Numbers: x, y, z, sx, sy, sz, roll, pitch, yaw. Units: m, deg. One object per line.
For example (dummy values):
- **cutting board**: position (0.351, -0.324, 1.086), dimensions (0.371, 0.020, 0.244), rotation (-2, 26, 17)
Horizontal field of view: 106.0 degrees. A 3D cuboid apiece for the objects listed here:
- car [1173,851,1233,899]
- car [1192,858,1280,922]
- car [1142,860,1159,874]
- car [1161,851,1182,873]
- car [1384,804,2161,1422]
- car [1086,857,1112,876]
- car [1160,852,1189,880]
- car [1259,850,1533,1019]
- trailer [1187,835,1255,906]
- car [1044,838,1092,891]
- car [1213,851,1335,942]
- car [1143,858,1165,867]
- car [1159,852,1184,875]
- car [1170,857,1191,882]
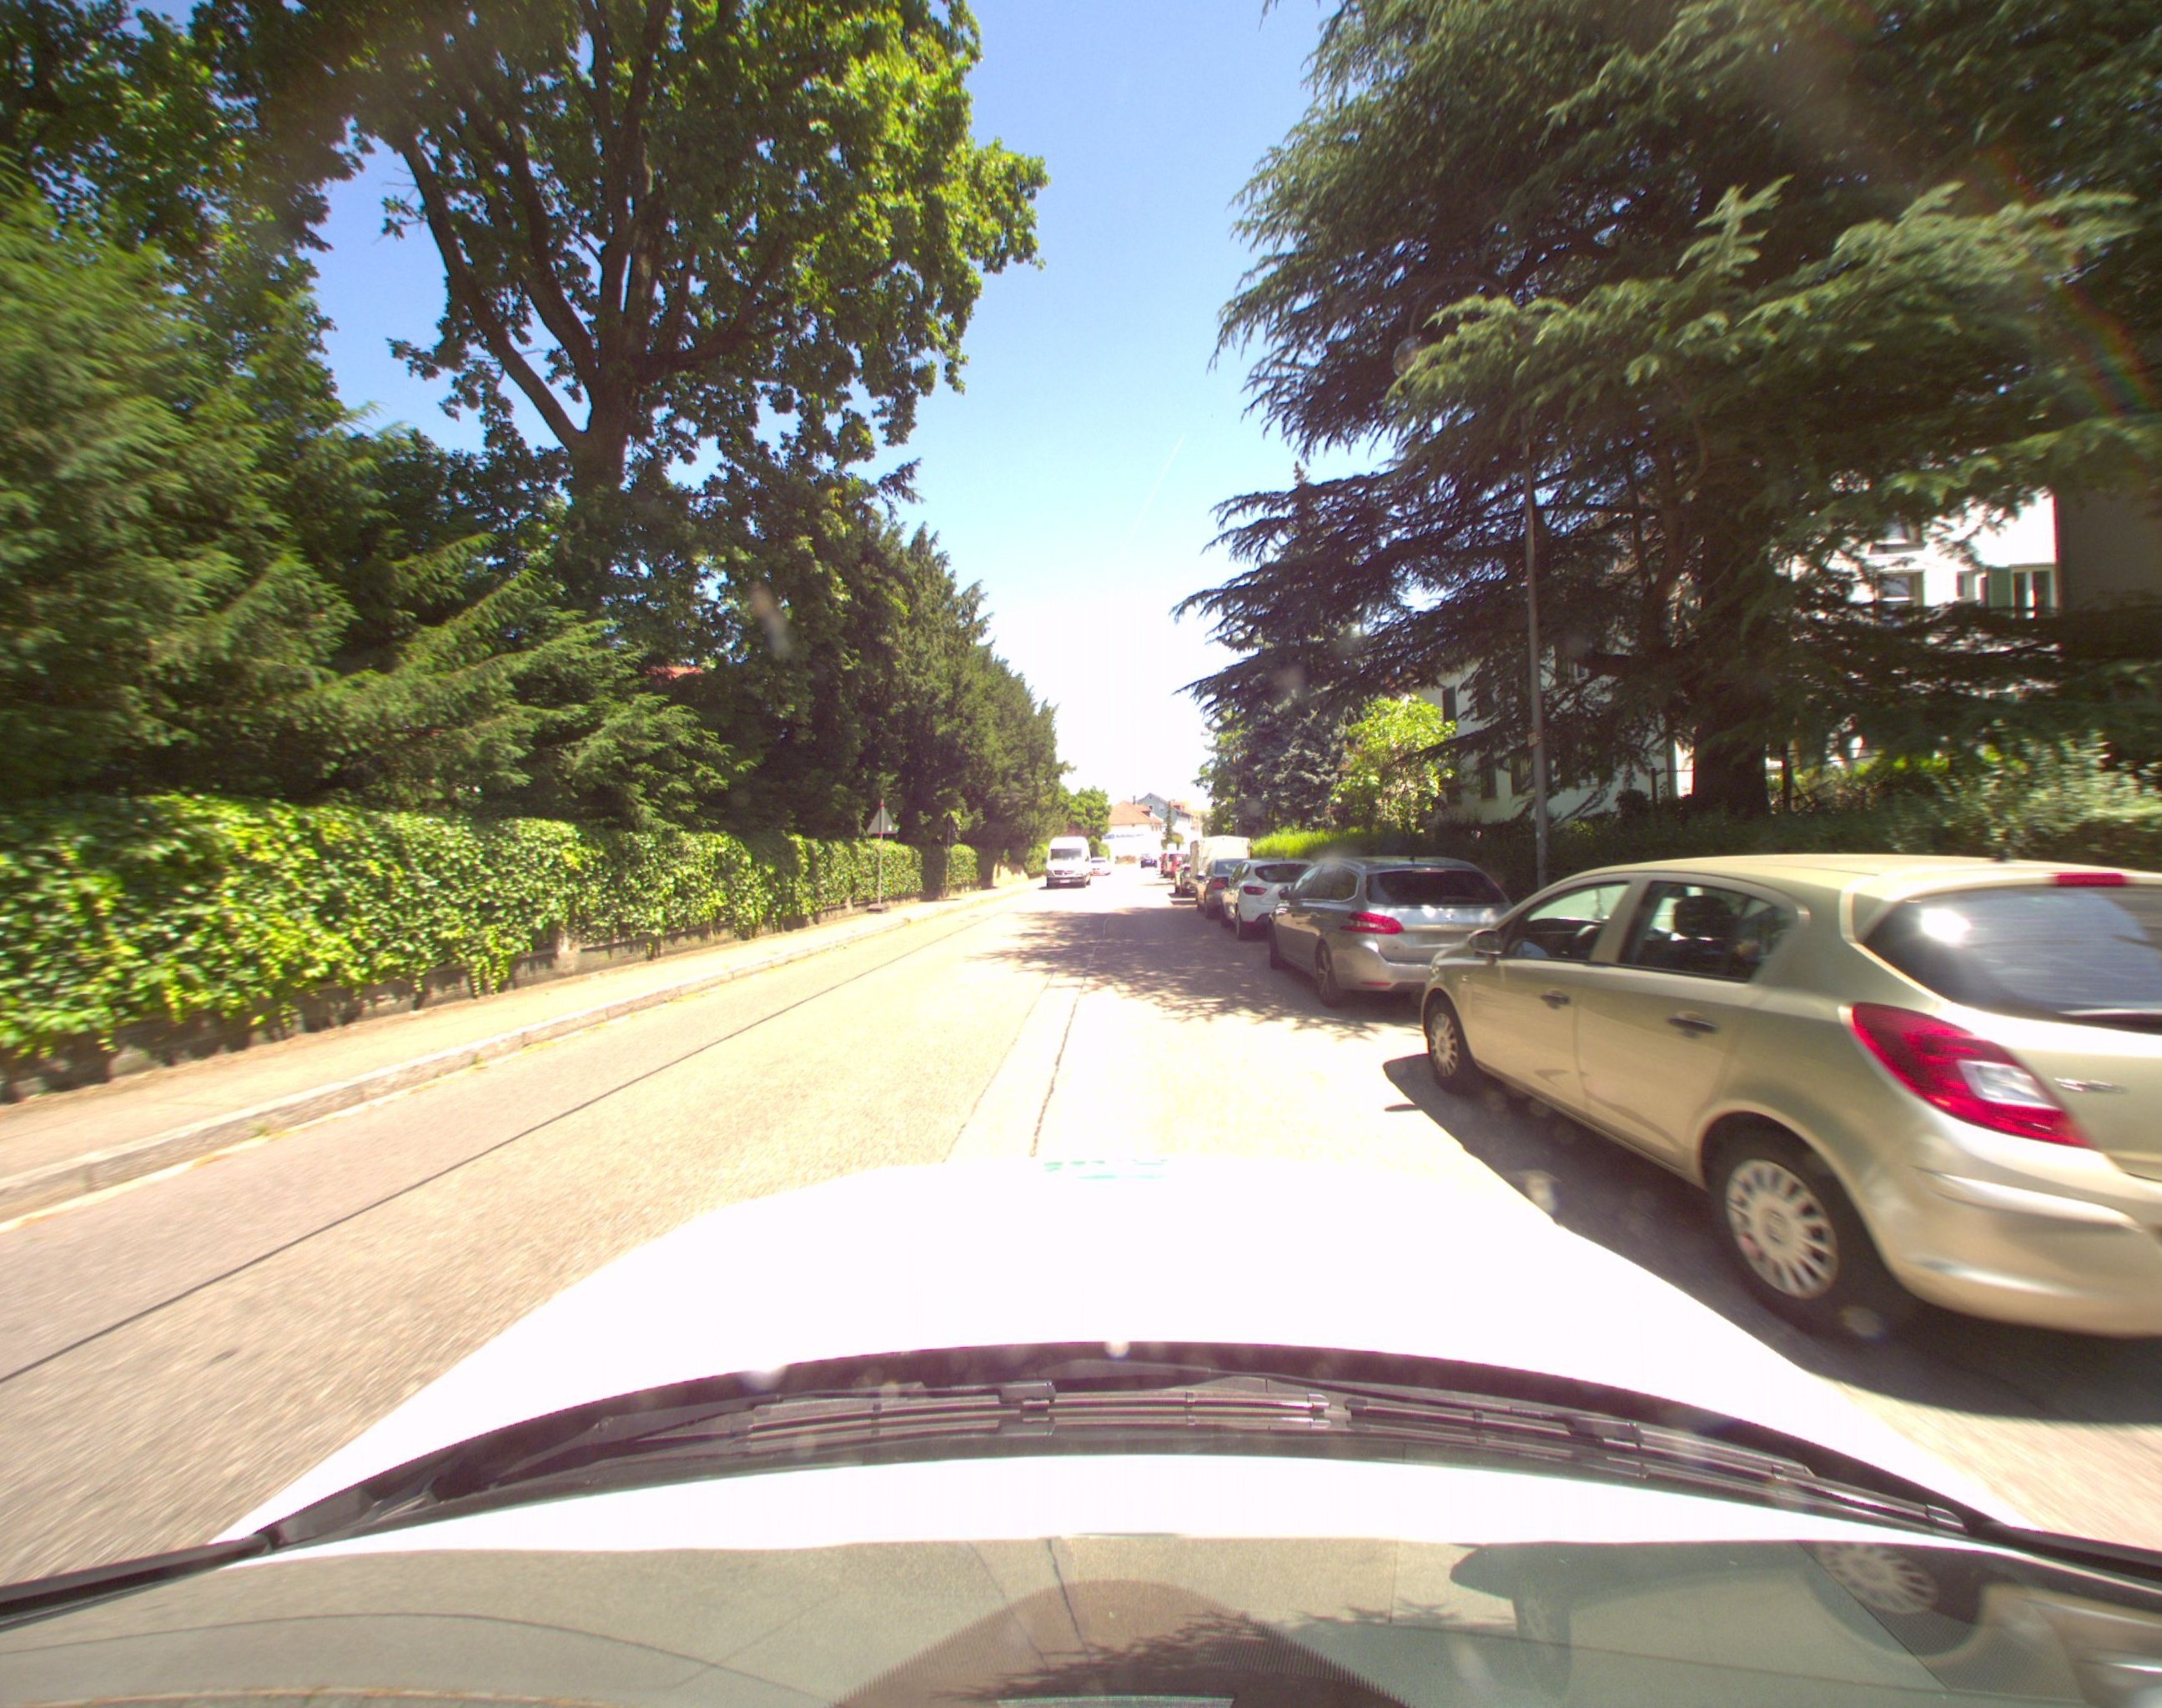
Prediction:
- **car**: position (4.512, 0.731, 30.732), dimensions (1.764, 1.632, 4.607), rotation (-1, 0, 3)
- **car**: position (3.780, 0.815, 20.489), dimensions (1.607, 1.396, 4.262), rotation (-2, 0, 3)
- **car**: position (8.183, 1.518, 95.599), dimensions (1.784, 1.510, 4.009), rotation (-1, 1, 8)
- **car**: position (8.701, 0.716, 78.681), dimensions (1.893, 1.924, 4.726), rotation (-3, 0, 6)
- **car**: position (3.011, 0.656, 4.035), dimensions (1.609, 1.512, 4.065), rotation (0, 0, 1)
- **car**: position (1.542, 0.992, 67.324), dimensions (1.855, 1.383, 4.610), rotation (-2, 0, 5)
- **car**: position (6.318, 0.766, 55.308), dimensions (1.738, 1.782, 4.549), rotation (-1, 0, 5)
- **car**: position (3.204, 0.722, 9.250), dimensions (1.608, 1.451, 4.378), rotation (0, -1, 3)
- **trailer**: position (4.418, 0.474, 26.132), dimensions (1.673, 2.068, 3.711), rotation (-1, 0, 3)
- **car**: position (-0.590, 0.530, 42.573), dimensions (1.985, 2.533, 5.900), rotation (-2, 0, 4)
- **car**: position (3.584, 0.719, 15.789), dimensions (1.607, 1.469, 4.068), rotation (-2, 0, 4)
- **car**: position (14.520, 1.654, 161.007), dimensions (4.103, 1.774, 1.833), rotation (-2, -1, 10)
- **car**: position (7.179, 0.755, 64.992), dimensions (1.893, 1.728, 4.398), rotation (-1, 0, 6)
- **car**: position (6.148, 0.946, 50.328), dimensions (1.254, 1.495, 2.714), rotation (-1, 0, 6)
